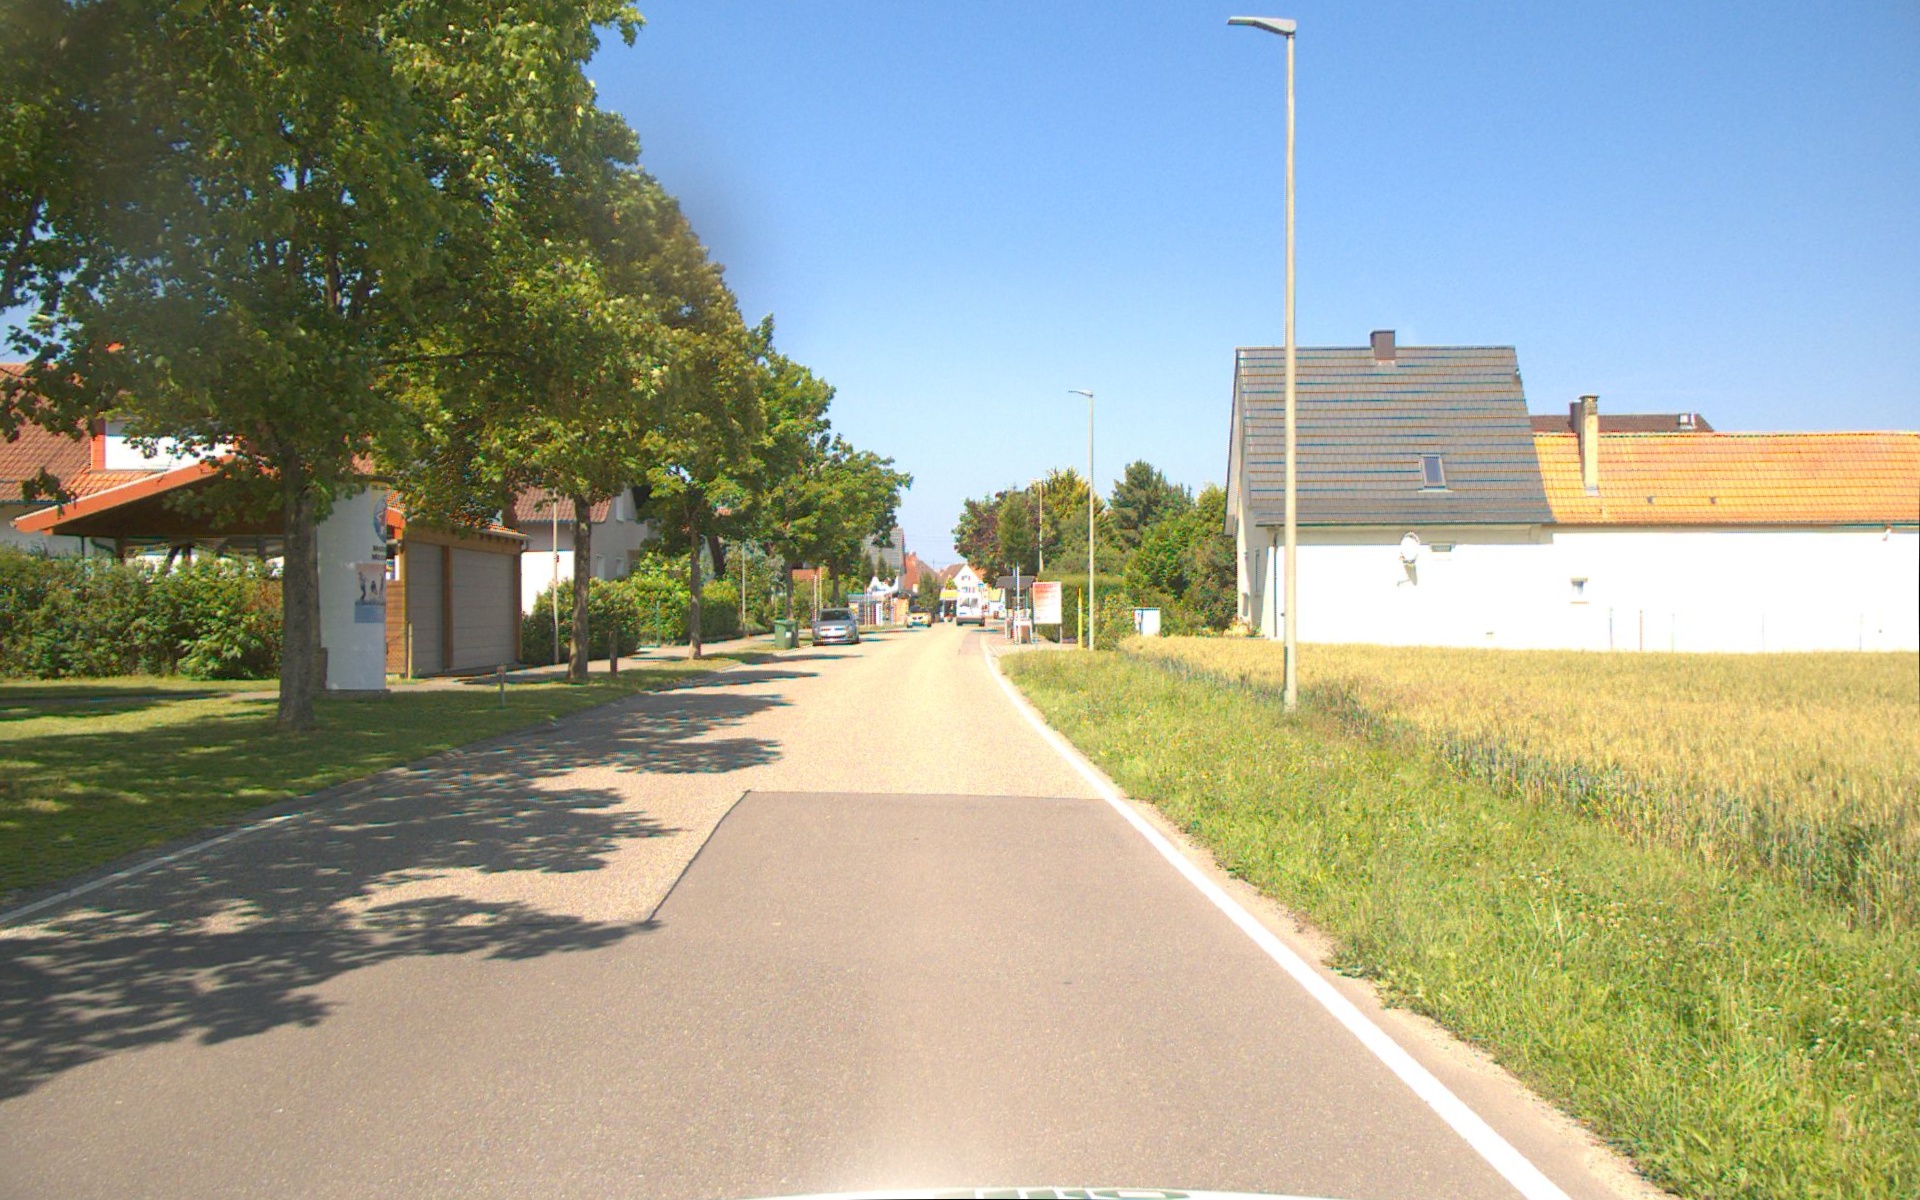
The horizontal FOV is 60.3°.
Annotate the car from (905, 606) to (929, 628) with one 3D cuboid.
[{"bbox_3d":[-3.120,1.203,119.035,1.632,1.550,3.440,-1,0,-3],"label":"car"}]

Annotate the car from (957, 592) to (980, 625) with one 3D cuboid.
[{"bbox_3d":[0.659,0.664,126.260,1.702,2.475,4.374,-1,0,0],"label":"car"}]

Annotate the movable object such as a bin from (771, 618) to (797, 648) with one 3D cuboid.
[{"bbox_3d":[-6.460,1.209,60.713,0.699,1.097,0.639,-1,-1,25],"label":"movable object such as a bin"}]

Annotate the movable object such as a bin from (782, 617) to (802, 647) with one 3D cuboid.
[{"bbox_3d":[-6.248,1.186,61.413,0.562,1.097,0.599,-1,-1,13],"label":"movable object such as a bin"}]

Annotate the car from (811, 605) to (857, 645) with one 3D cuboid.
[{"bbox_3d":[-5.013,0.978,66.185,1.614,1.448,4.078,-3,0,-2],"label":"car"}]
